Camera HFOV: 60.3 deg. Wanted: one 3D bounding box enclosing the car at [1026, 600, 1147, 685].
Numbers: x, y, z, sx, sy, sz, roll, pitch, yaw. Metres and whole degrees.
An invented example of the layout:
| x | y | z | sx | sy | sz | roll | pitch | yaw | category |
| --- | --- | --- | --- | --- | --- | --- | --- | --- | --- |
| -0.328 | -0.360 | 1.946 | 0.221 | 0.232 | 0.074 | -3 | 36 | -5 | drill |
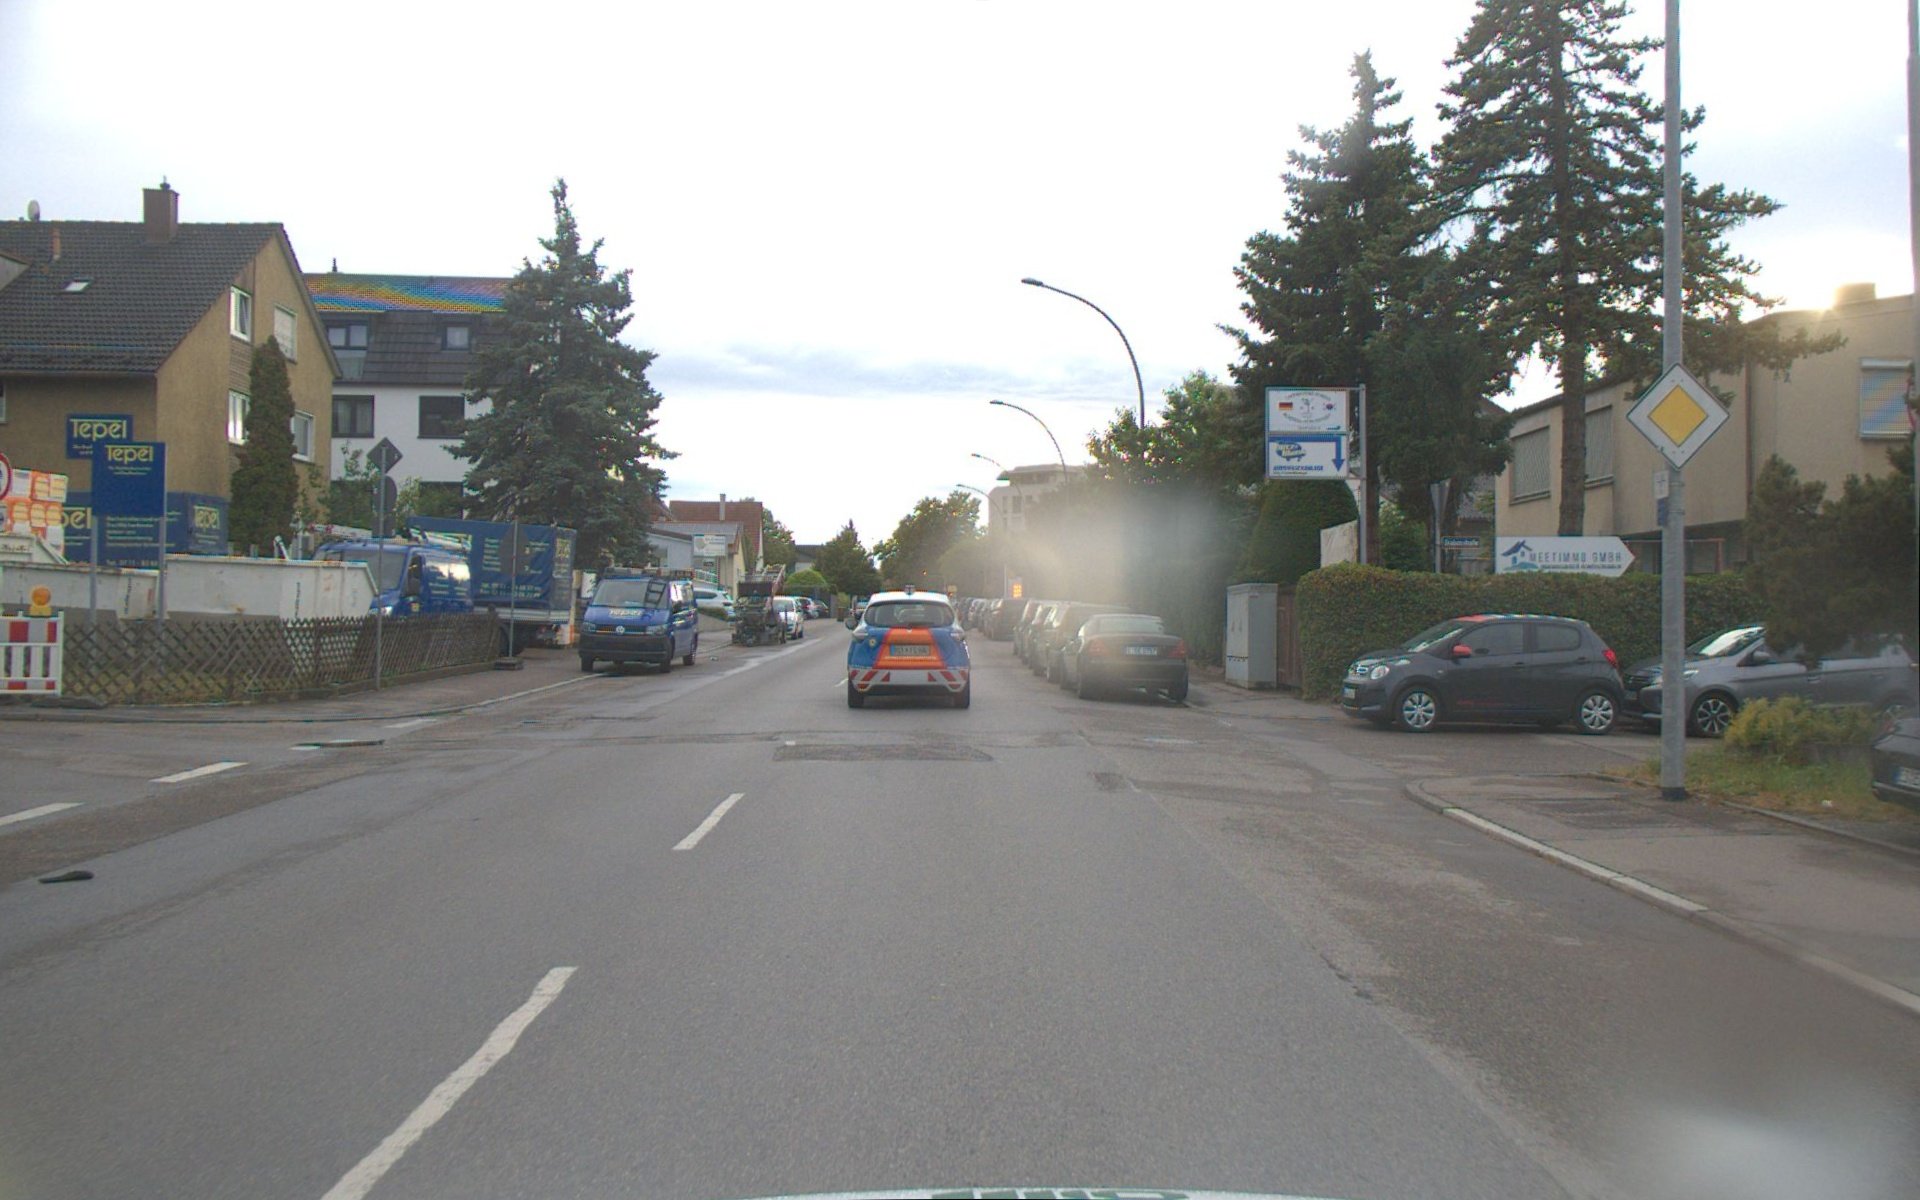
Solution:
| x | y | z | sx | sy | sz | roll | pitch | yaw | category |
| --- | --- | --- | --- | --- | --- | --- | --- | --- | --- |
| 2.325 | 0.768 | 31.476 | 1.624 | 1.444 | 4.773 | 2 | -1 | -3 | car |

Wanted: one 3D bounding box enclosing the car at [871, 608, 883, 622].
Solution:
| x | y | z | sx | sy | sz | roll | pitch | yaw | category |
| --- | --- | --- | --- | --- | --- | --- | --- | --- | --- |
| -7.887 | 1.416 | 157.729 | 1.128 | 1.254 | 3.370 | 0 | 0 | -3 | car |

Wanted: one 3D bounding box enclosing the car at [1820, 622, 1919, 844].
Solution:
| x | y | z | sx | sy | sz | roll | pitch | yaw | category |
| --- | --- | --- | --- | --- | --- | --- | --- | --- | --- |
| 7.542 | 0.838 | 9.768 | 3.905 | 1.288 | 1.951 | 2 | -1 | 1 | car |

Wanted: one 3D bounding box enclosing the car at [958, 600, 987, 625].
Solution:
| x | y | z | sx | sy | sz | roll | pitch | yaw | category |
| --- | --- | --- | --- | --- | --- | --- | --- | --- | --- |
| 0.787 | 0.817 | 107.202 | 1.617 | 1.548 | 3.998 | 2 | -1 | -3 | car |

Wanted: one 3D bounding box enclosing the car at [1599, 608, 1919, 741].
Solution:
| x | y | z | sx | sy | sz | roll | pitch | yaw | category |
| --- | --- | --- | --- | --- | --- | --- | --- | --- | --- |
| 10.532 | 0.949 | 21.719 | 3.542 | 1.565 | 1.859 | 2 | -1 | -3 | car |

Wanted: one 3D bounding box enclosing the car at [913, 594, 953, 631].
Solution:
| x | y | z | sx | sy | sz | roll | pitch | yaw | category |
| --- | --- | --- | --- | --- | --- | --- | --- | --- | --- |
| -1.213 | 0.557 | 72.581 | 1.617 | 1.548 | 3.998 | 2 | -1 | -3 | car |

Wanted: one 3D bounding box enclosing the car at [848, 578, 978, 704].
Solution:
| x | y | z | sx | sy | sz | roll | pitch | yaw | category |
| --- | --- | --- | --- | --- | --- | --- | --- | --- | --- |
| -0.674 | 0.562 | 23.663 | 1.696 | 1.659 | 3.493 | 1 | -1 | -2 | car |

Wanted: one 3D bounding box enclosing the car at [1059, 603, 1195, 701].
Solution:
| x | y | z | sx | sy | sz | roll | pitch | yaw | category |
| --- | --- | --- | --- | --- | --- | --- | --- | --- | --- |
| 2.623 | 0.786 | 26.798 | 1.558 | 1.364 | 4.090 | 3 | 0 | -3 | car |

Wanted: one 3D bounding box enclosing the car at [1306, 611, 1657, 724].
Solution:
| x | y | z | sx | sy | sz | roll | pitch | yaw | category |
| --- | --- | --- | --- | --- | --- | --- | --- | --- | --- |
| 6.675 | 0.848 | 21.465 | 3.907 | 1.288 | 1.950 | 2 | -1 | -3 | car |

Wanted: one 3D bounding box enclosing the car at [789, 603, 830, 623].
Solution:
| x | y | z | sx | sy | sz | roll | pitch | yaw | category |
| --- | --- | --- | --- | --- | --- | --- | --- | --- | --- |
| -11.837 | 1.032 | 130.397 | 3.217 | 1.473 | 1.478 | -1 | 0 | -6 | car |

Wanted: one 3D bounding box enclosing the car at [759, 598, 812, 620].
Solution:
| x | y | z | sx | sy | sz | roll | pitch | yaw | category |
| --- | --- | --- | --- | --- | --- | --- | --- | --- | --- |
| -12.501 | 0.650 | 118.473 | 3.686 | 1.509 | 1.653 | 2 | -1 | -6 | car |

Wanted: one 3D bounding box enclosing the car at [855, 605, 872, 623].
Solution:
| x | y | z | sx | sy | sz | roll | pitch | yaw | category |
| --- | --- | --- | --- | --- | --- | --- | --- | --- | --- |
| -8.143 | 1.167 | 139.420 | 1.358 | 1.509 | 3.782 | 1 | 0 | -3 | car |

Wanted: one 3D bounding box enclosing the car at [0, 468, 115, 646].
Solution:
| x | y | z | sx | sy | sz | roll | pitch | yaw | category |
| --- | --- | --- | --- | --- | --- | --- | --- | --- | --- |
| -17.607 | -0.757 | 29.764 | 2.033 | 3.066 | 5.242 | 2 | -1 | 0 | car |

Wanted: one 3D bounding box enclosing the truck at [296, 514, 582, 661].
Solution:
| x | y | z | sx | sy | sz | roll | pitch | yaw | category |
| --- | --- | --- | --- | --- | --- | --- | --- | --- | --- |
| -12.082 | -0.272 | 38.702 | 5.791 | 3.127 | 2.449 | 2 | -1 | -1 | truck |

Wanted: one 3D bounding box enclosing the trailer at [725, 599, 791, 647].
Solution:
| x | y | z | sx | sy | sz | roll | pitch | yaw | category |
| --- | --- | --- | --- | --- | --- | --- | --- | --- | --- |
| -6.484 | 0.720 | 53.512 | 1.683 | 1.282 | 5.242 | 2 | 1 | -3 | trailer |

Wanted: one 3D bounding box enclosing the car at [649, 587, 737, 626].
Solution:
| x | y | z | sx | sy | sz | roll | pitch | yaw | category |
| --- | --- | --- | --- | --- | --- | --- | --- | --- | --- |
| -11.947 | 0.286 | 74.235 | 3.684 | 1.595 | 1.654 | 2 | -1 | -3 | car |

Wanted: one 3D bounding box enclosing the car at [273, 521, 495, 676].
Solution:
| x | y | z | sx | sy | sz | roll | pitch | yaw | category |
| --- | --- | --- | --- | --- | --- | --- | --- | --- | --- |
| -10.791 | 0.002 | 31.582 | 2.033 | 2.612 | 6.200 | 2 | -1 | 0 | car |

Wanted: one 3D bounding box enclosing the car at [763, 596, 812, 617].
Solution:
| x | y | z | sx | sy | sz | roll | pitch | yaw | category |
| --- | --- | --- | --- | --- | --- | --- | --- | --- | --- |
| -12.733 | 0.495 | 122.183 | 3.582 | 1.509 | 1.478 | -1 | 0 | -6 | car |

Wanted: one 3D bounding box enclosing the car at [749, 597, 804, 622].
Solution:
| x | y | z | sx | sy | sz | roll | pitch | yaw | category |
| --- | --- | --- | --- | --- | --- | --- | --- | --- | --- |
| -12.647 | 0.639 | 114.107 | 3.686 | 1.604 | 1.653 | 2 | -1 | -6 | car |

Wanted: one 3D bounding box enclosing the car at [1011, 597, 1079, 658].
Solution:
| x | y | z | sx | sy | sz | roll | pitch | yaw | category |
| --- | --- | --- | --- | --- | --- | --- | --- | --- | --- |
| 2.176 | 0.679 | 43.046 | 1.457 | 1.464 | 3.806 | 2 | 0 | -1 | car |

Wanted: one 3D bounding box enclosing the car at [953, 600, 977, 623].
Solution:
| x | y | z | sx | sy | sz | roll | pitch | yaw | category |
| --- | --- | --- | --- | --- | --- | --- | --- | --- | --- |
| 0.410 | 0.926 | 128.966 | 1.617 | 1.701 | 3.998 | 2 | -1 | -3 | car |

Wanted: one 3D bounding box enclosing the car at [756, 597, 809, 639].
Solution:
| x | y | z | sx | sy | sz | roll | pitch | yaw | category |
| --- | --- | --- | --- | --- | --- | --- | --- | --- | --- |
| -6.525 | 0.648 | 61.060 | 1.526 | 1.458 | 3.999 | 2 | -1 | -1 | car |

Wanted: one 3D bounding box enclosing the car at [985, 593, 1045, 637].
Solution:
| x | y | z | sx | sy | sz | roll | pitch | yaw | category |
| --- | --- | --- | --- | --- | --- | --- | --- | --- | --- |
| 1.906 | 0.523 | 58.603 | 1.677 | 1.464 | 4.523 | 2 | -1 | -3 | car |

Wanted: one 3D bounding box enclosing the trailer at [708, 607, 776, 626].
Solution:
| x | y | z | sx | sy | sz | roll | pitch | yaw | category |
| --- | --- | --- | --- | --- | --- | --- | --- | --- | --- |
| -13.308 | 1.011 | 101.034 | 3.942 | 1.012 | 1.654 | 2 | -1 | -3 | trailer |

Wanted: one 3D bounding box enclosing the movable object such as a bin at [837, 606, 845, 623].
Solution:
| x | y | z | sx | sy | sz | roll | pitch | yaw | category |
| --- | --- | --- | --- | --- | --- | --- | --- | --- | --- |
| -8.936 | 1.084 | 124.483 | 0.568 | 1.225 | 0.318 | 1 | -1 | -1 | movable object such as a bin |

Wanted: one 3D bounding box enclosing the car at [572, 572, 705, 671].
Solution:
| x | y | z | sx | sy | sz | roll | pitch | yaw | category |
| --- | --- | --- | --- | --- | --- | --- | --- | --- | --- |
| -6.837 | 0.416 | 35.726 | 1.953 | 1.981 | 5.363 | 0 | 0 | -2 | car |

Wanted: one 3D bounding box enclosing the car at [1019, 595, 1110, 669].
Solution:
| x | y | z | sx | sy | sz | roll | pitch | yaw | category |
| --- | --- | --- | --- | --- | --- | --- | --- | --- | --- |
| 2.246 | 0.667 | 36.421 | 1.624 | 1.474 | 3.828 | 2 | 0 | -2 | car |
